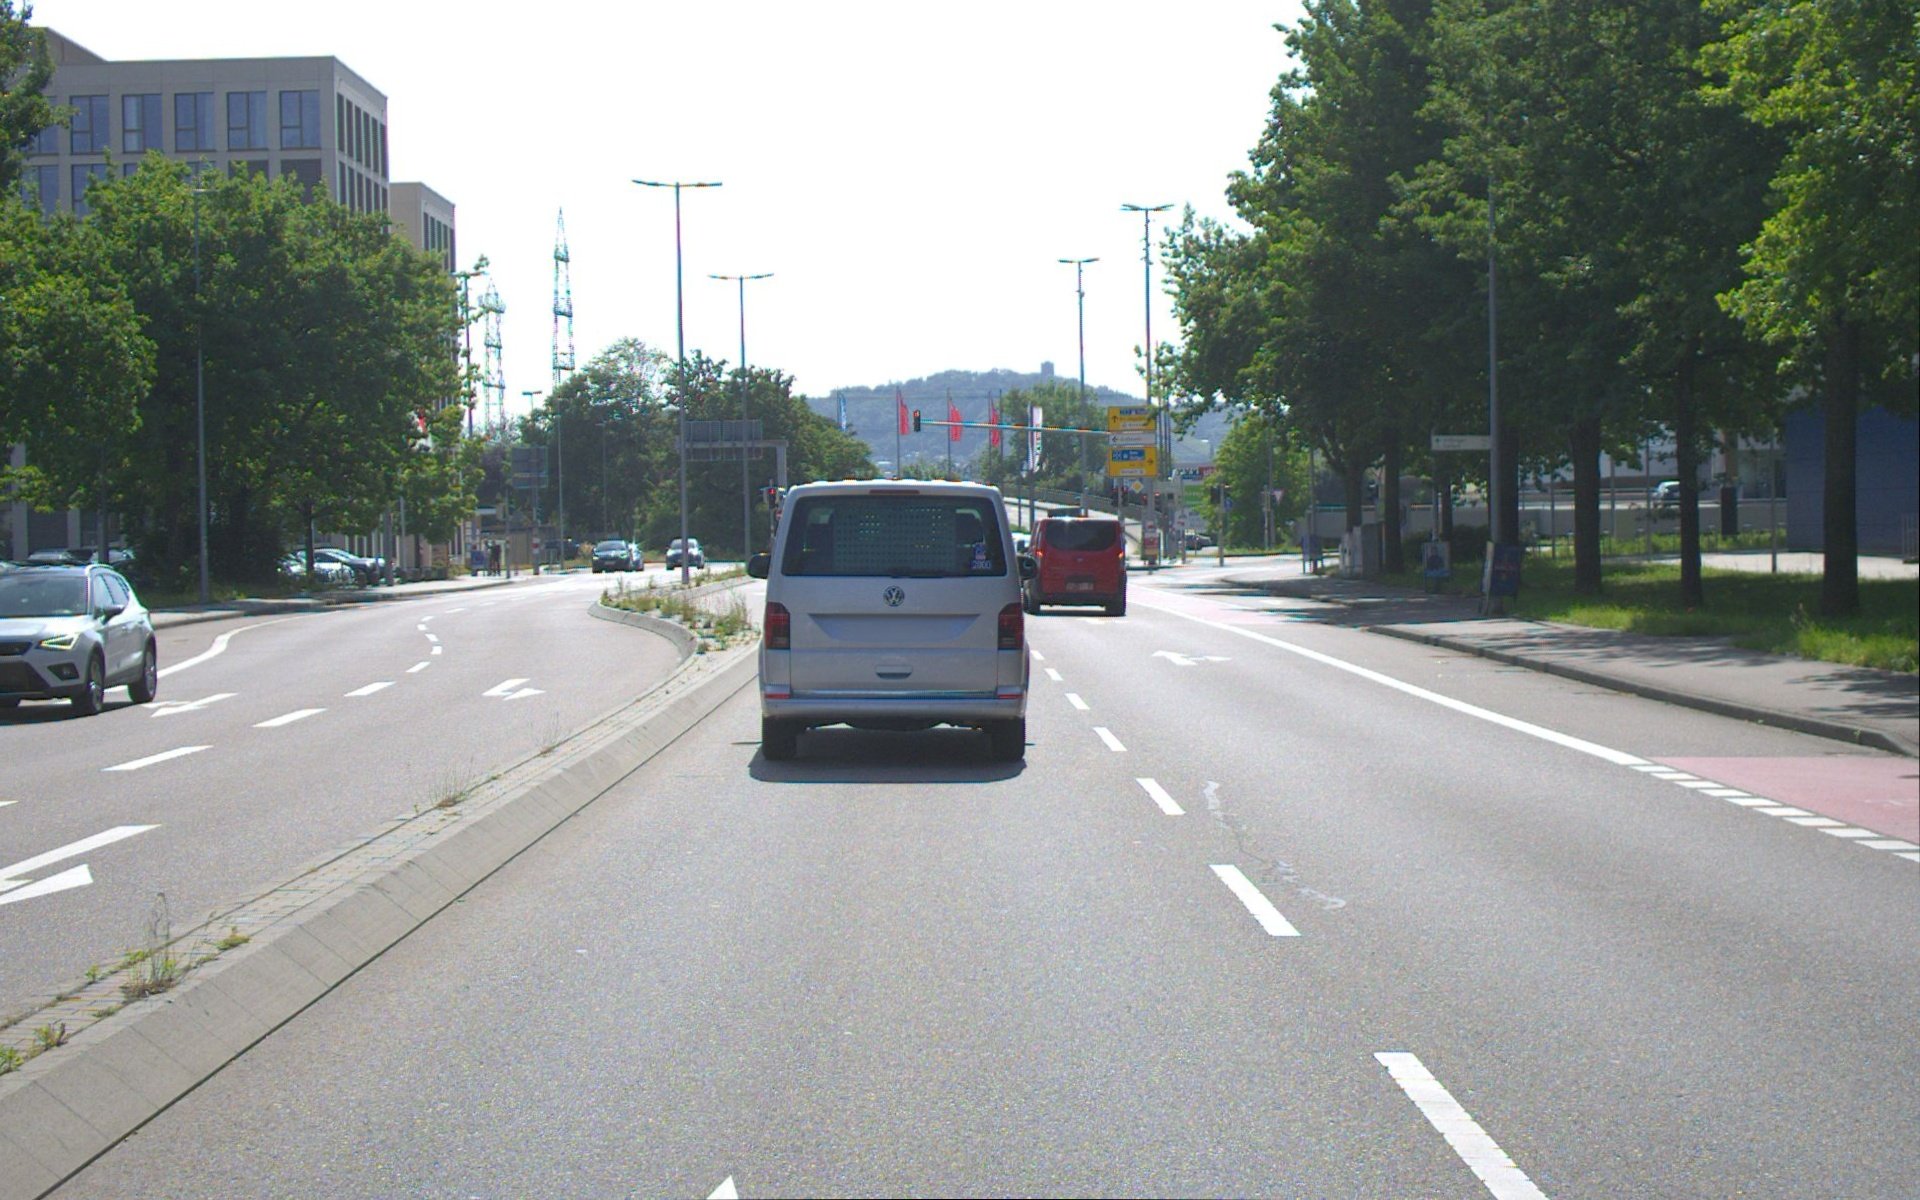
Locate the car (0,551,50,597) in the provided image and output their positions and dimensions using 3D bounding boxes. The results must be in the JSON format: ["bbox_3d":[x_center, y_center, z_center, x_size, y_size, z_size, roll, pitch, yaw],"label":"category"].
[{"bbox_3d":[-24.243,-0.516,82.910,4.107,1.030,1.697,-4,1,-2],"label":"car"}]

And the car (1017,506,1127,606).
[{"bbox_3d":[2.265,-0.932,70.955,1.967,1.961,5.126,0,1,-1],"label":"car"}]

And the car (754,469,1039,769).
[{"bbox_3d":[-0.448,0.083,24.867,1.884,1.983,4.000,0,1,-1],"label":"car"}]

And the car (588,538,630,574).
[{"bbox_3d":[-17.292,-2.170,169.358,1.738,1.613,4.210,-4,1,-3],"label":"car"}]

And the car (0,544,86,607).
[{"bbox_3d":[-24.334,-0.524,86.710,3.987,1.437,2.000,-5,1,0],"label":"car"}]

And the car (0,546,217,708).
[{"bbox_3d":[-9.743,0.269,37.776,1.994,1.612,4.104,-2,1,3],"label":"car"}]

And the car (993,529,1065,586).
[{"bbox_3d":[1.801,-1.134,91.126,1.746,1.453,4.476,0,1,-1],"label":"car"}]
